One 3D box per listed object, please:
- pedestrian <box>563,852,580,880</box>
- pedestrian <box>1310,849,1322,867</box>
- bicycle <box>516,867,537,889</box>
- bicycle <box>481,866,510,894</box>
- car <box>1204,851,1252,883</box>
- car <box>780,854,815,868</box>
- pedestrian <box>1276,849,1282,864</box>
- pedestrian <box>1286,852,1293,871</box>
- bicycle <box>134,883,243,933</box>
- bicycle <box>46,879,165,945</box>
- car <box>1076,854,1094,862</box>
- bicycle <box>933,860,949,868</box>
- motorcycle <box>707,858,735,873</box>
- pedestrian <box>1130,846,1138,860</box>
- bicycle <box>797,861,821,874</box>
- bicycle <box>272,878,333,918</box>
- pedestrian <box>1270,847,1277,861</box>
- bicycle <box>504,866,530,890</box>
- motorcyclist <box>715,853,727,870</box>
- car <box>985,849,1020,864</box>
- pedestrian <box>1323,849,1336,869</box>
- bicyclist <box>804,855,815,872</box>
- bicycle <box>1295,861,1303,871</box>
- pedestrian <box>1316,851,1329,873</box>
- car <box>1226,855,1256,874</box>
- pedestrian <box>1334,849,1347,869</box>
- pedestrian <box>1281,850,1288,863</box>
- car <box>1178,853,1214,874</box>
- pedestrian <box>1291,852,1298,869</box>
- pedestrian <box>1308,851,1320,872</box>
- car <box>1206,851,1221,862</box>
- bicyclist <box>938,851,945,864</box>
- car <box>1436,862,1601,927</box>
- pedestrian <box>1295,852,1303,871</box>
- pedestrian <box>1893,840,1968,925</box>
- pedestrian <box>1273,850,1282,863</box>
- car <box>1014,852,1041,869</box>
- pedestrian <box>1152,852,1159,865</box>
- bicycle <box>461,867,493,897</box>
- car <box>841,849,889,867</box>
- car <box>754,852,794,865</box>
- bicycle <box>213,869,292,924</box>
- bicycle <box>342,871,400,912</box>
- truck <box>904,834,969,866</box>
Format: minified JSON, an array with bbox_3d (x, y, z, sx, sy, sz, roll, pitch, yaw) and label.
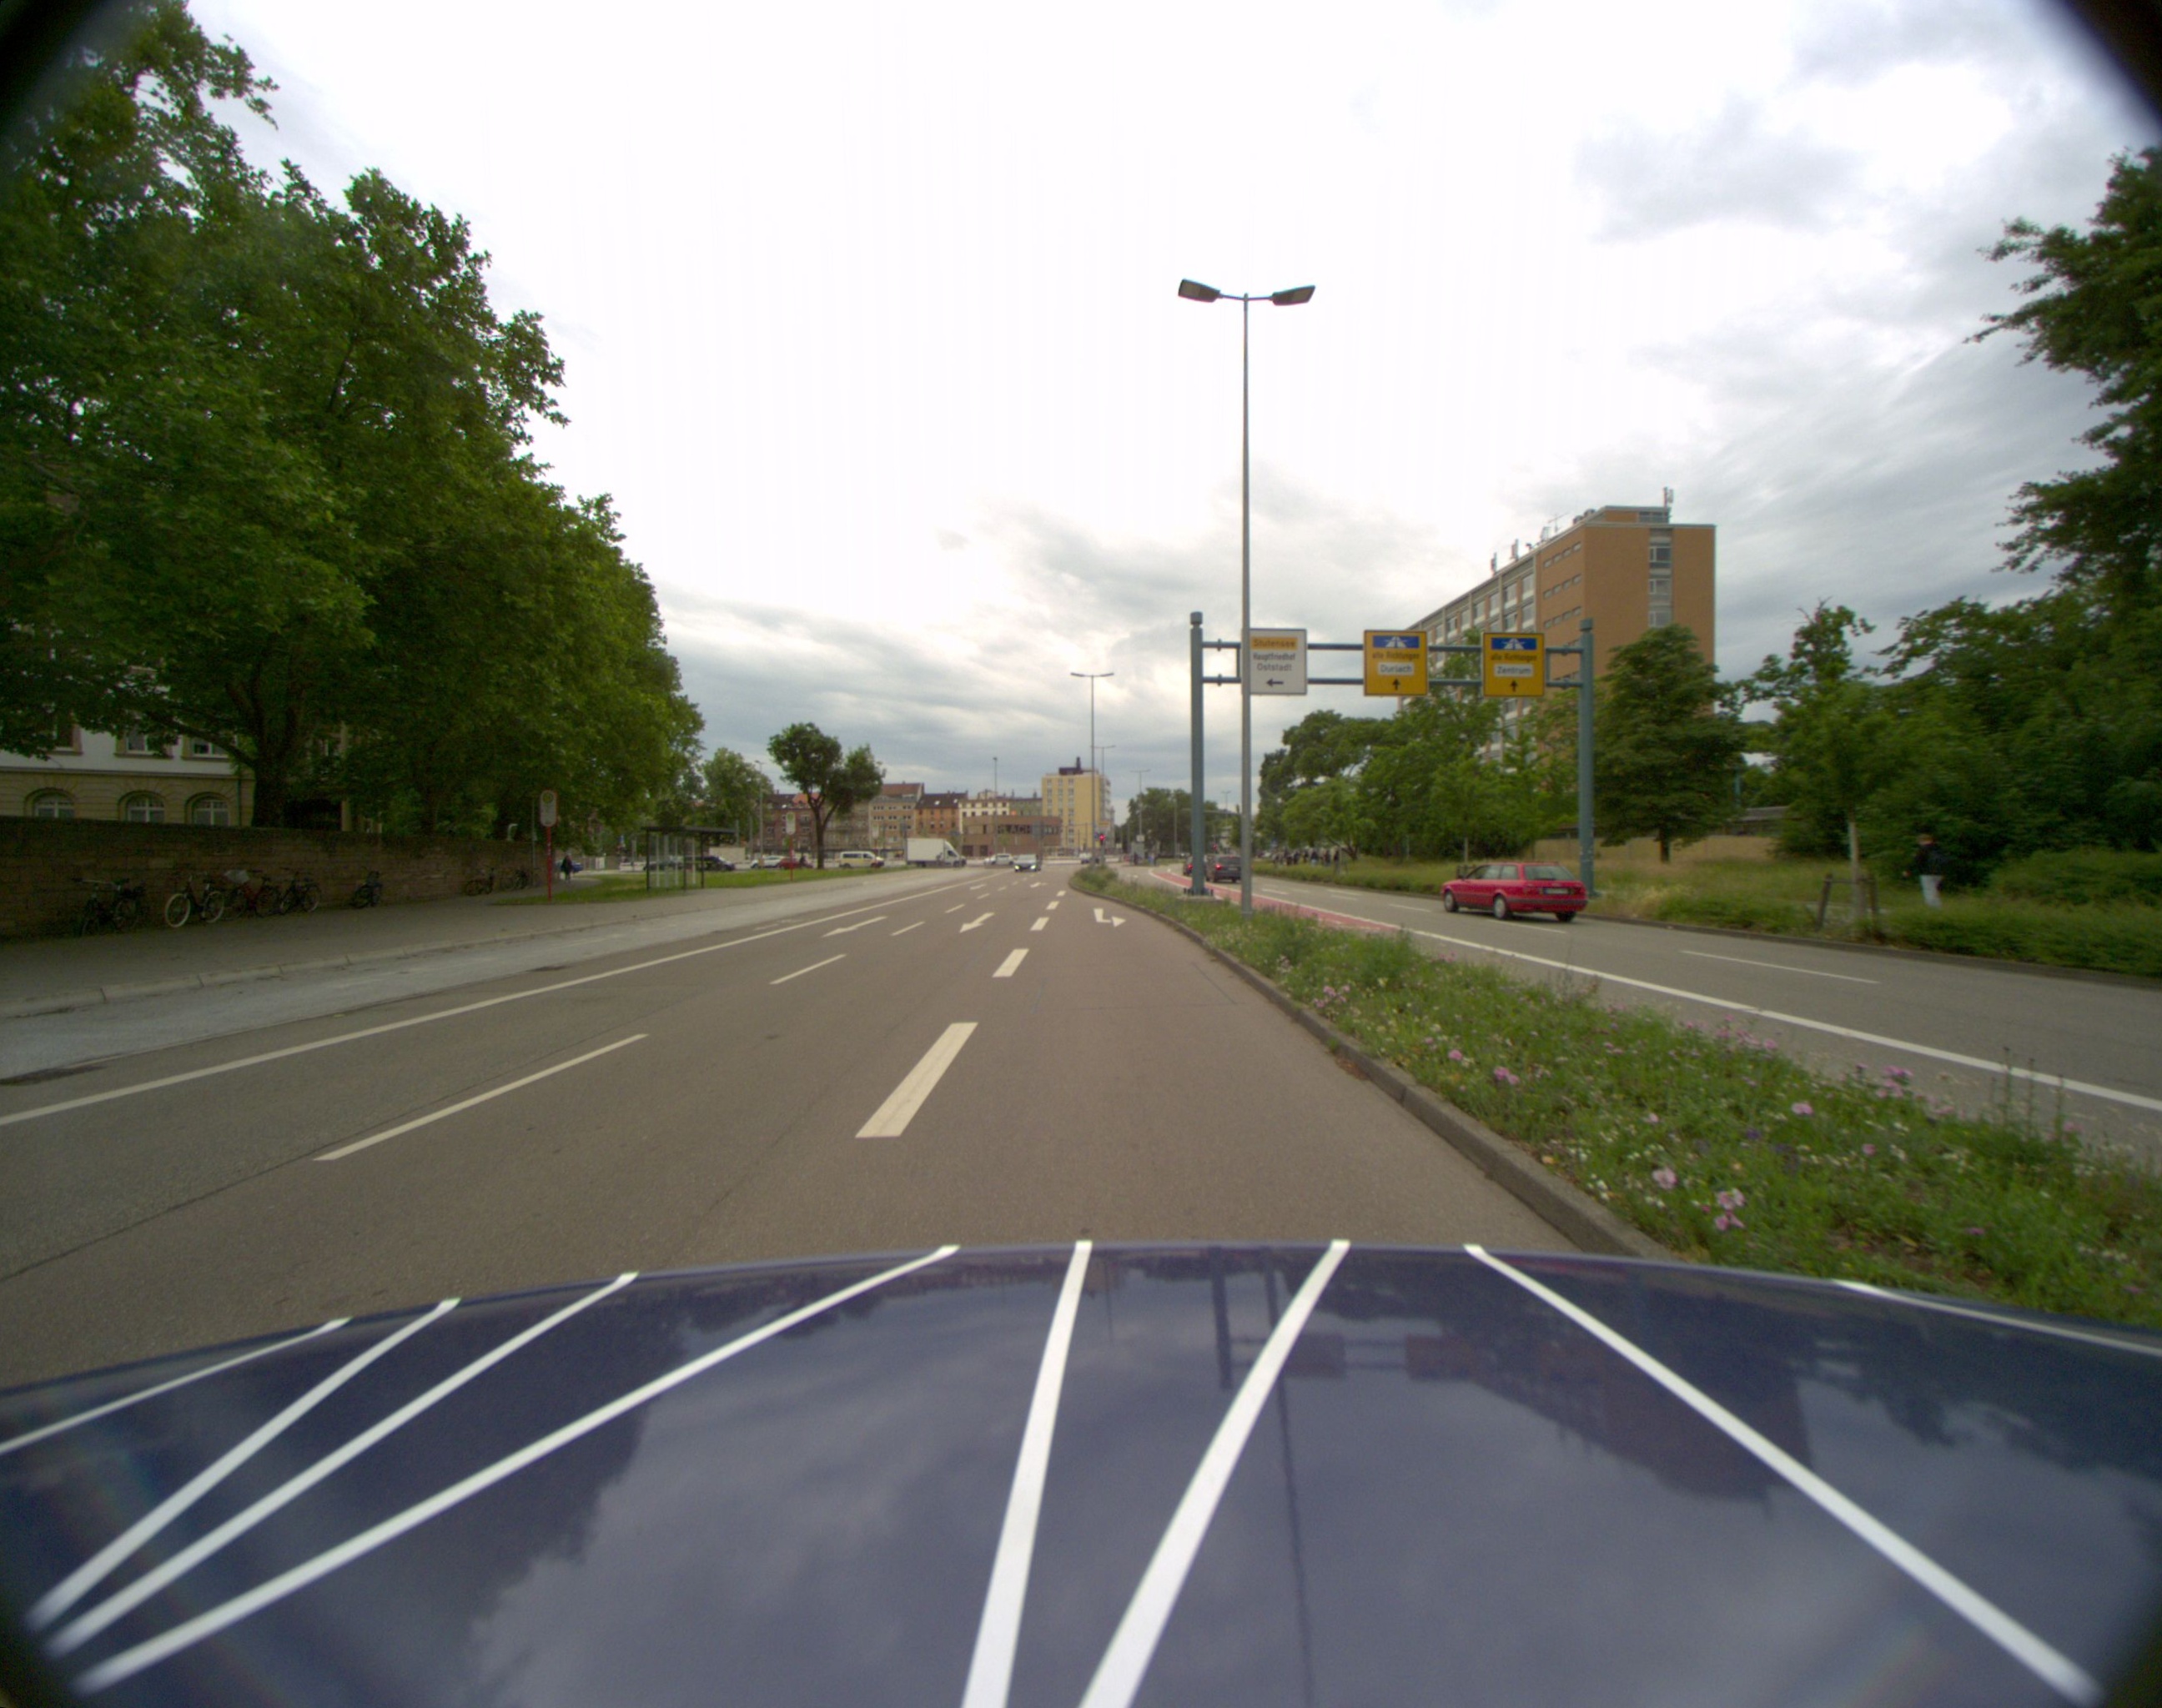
[{"bbox_3d":[-31.191,0.729,46.487,0.759,1.725,0.820,1,1,-39],"label":"pedestrian"},{"bbox_3d":[21.414,0.336,69.215,0.635,1.603,0.829,-2,0,-21],"label":"pedestrian"},{"bbox_3d":[-26.370,1.125,36.144,0.552,0.986,1.633,1,0,-28],"label":"bicycle"},{"bbox_3d":[-24.222,1.064,31.471,0.596,1.123,1.709,1,0,-25],"label":"bicycle"},{"bbox_3d":[8.436,0.713,43.955,1.925,1.655,4.398,1,1,1],"label":"car"},{"bbox_3d":[-31.710,0.802,85.031,3.431,1.372,1.288,-1,-7,-5],"label":"car"},{"bbox_3d":[23.888,0.296,91.661,0.638,1.790,0.762,-1,0,4],"label":"pedestrian"},{"bbox_3d":[18.251,0.646,66.478,0.575,1.599,0.617,1,0,16],"label":"pedestrian"},{"bbox_3d":[-19.034,1.121,16.258,0.656,0.945,1.767,1,0,-17],"label":"bicycle"},{"bbox_3d":[-18.454,1.062,14.433,0.722,1.093,1.788,1,0,-28],"label":"bicycle"},{"bbox_3d":[0.612,0.603,116.957,1.782,1.255,3.536,-1,1,19],"label":"car"},{"bbox_3d":[-15.371,1.097,83.269,1.695,0.910,0.767,1,0,-10],"label":"bicycle"},{"bbox_3d":[-38.757,1.204,81.815,2.515,1.592,0.928,1,0,-12],"label":"motorcycle"},{"bbox_3d":[6.934,-0.087,99.924,0.917,1.794,0.541,1,1,17],"label":"pedestrian"},{"bbox_3d":[-29.448,1.451,82.271,2.391,1.316,0.764,1,0,-6],"label":"bicycle"},{"bbox_3d":[-20.080,1.122,19.634,0.417,0.937,1.523,1,0,-17],"label":"bicycle"},{"bbox_3d":[24.556,-0.013,96.872,0.708,1.661,0.890,-2,0,4],"label":"pedestrian"},{"bbox_3d":[-25.658,1.088,34.573,0.596,1.053,1.709,1,0,-25],"label":"bicycle"},{"bbox_3d":[-38.749,0.822,81.796,0.918,1.818,0.928,1,0,-12],"label":"motorcyclist"},{"bbox_3d":[-9.638,0.341,93.441,3.918,1.753,1.835,1,0,-32],"label":"car"},{"bbox_3d":[17.483,0.353,53.411,0.646,1.350,0.711,1,0,-1],"label":"pedestrian"},{"bbox_3d":[-29.373,1.001,82.278,0.896,1.849,0.764,1,0,-5],"label":"bicyclist"},{"bbox_3d":[18.935,1.027,66.058,0.661,0.882,1.717,1,0,16],"label":"bicycle"},{"bbox_3d":[19.045,0.615,59.914,0.709,1.663,0.767,1,0,-5],"label":"pedestrian"},{"bbox_3d":[12.029,0.739,57.263,1.611,1.373,3.809,1,0,4],"label":"car"},{"bbox_3d":[18.231,0.359,53.451,0.646,1.354,0.680,1,0,-2],"label":"pedestrian"},{"bbox_3d":[21.980,0.262,82.061,0.637,1.471,0.762,1,0,4],"label":"pedestrian"},{"bbox_3d":[8.511,0.674,56.698,1.768,1.452,4.790,1,1,-2],"label":"car"},{"bbox_3d":[21.005,0.641,74.795,0.579,1.702,0.763,1,0,23],"label":"pedestrian"},{"bbox_3d":[18.354,0.606,59.846,0.587,1.650,0.720,1,0,-5],"label":"pedestrian"},{"bbox_3d":[22.784,0.418,130.628,1.812,1.657,3.955,1,1,23],"label":"car"},{"bbox_3d":[-15.319,0.390,83.270,0.740,1.499,0.767,1,0,-10],"label":"bicyclist"},{"bbox_3d":[10.756,0.921,19.089,1.718,1.410,4.294,0,0,1],"label":"car"},{"bbox_3d":[18.941,0.628,66.054,0.661,1.622,0.764,1,0,16],"label":"pedestrian"},{"bbox_3d":[17.680,0.587,15.833,0.621,1.719,0.818,1,0,0],"label":"pedestrian"},{"bbox_3d":[21.207,0.271,81.947,0.730,1.471,0.813,1,0,4],"label":"pedestrian"},{"bbox_3d":[-4.318,0.507,61.844,1.785,1.255,3.830,-1,1,1],"label":"car"},{"bbox_3d":[9.842,0.588,100.104,0.777,1.657,0.706,1,0,-8],"label":"pedestrian"},{"bbox_3d":[-23.672,1.082,29.816,0.596,1.129,1.709,1,0,-25],"label":"bicycle"},{"bbox_3d":[-24.143,0.452,85.079,4.712,1.909,1.919,-1,3,-3],"label":"car"},{"bbox_3d":[-36.190,0.542,89.735,4.032,1.466,1.819,1,0,-6],"label":"car"},{"bbox_3d":[-19.584,0.986,17.996,0.501,1.214,1.624,1,0,-17],"label":"bicycle"},{"bbox_3d":[-20.505,1.051,21.972,0.599,1.098,1.652,1,0,-19],"label":"bicycle"},{"bbox_3d":[-16.241,-0.513,85.566,6.852,3.393,2.559,-1,2,-5],"label":"truck"}]
